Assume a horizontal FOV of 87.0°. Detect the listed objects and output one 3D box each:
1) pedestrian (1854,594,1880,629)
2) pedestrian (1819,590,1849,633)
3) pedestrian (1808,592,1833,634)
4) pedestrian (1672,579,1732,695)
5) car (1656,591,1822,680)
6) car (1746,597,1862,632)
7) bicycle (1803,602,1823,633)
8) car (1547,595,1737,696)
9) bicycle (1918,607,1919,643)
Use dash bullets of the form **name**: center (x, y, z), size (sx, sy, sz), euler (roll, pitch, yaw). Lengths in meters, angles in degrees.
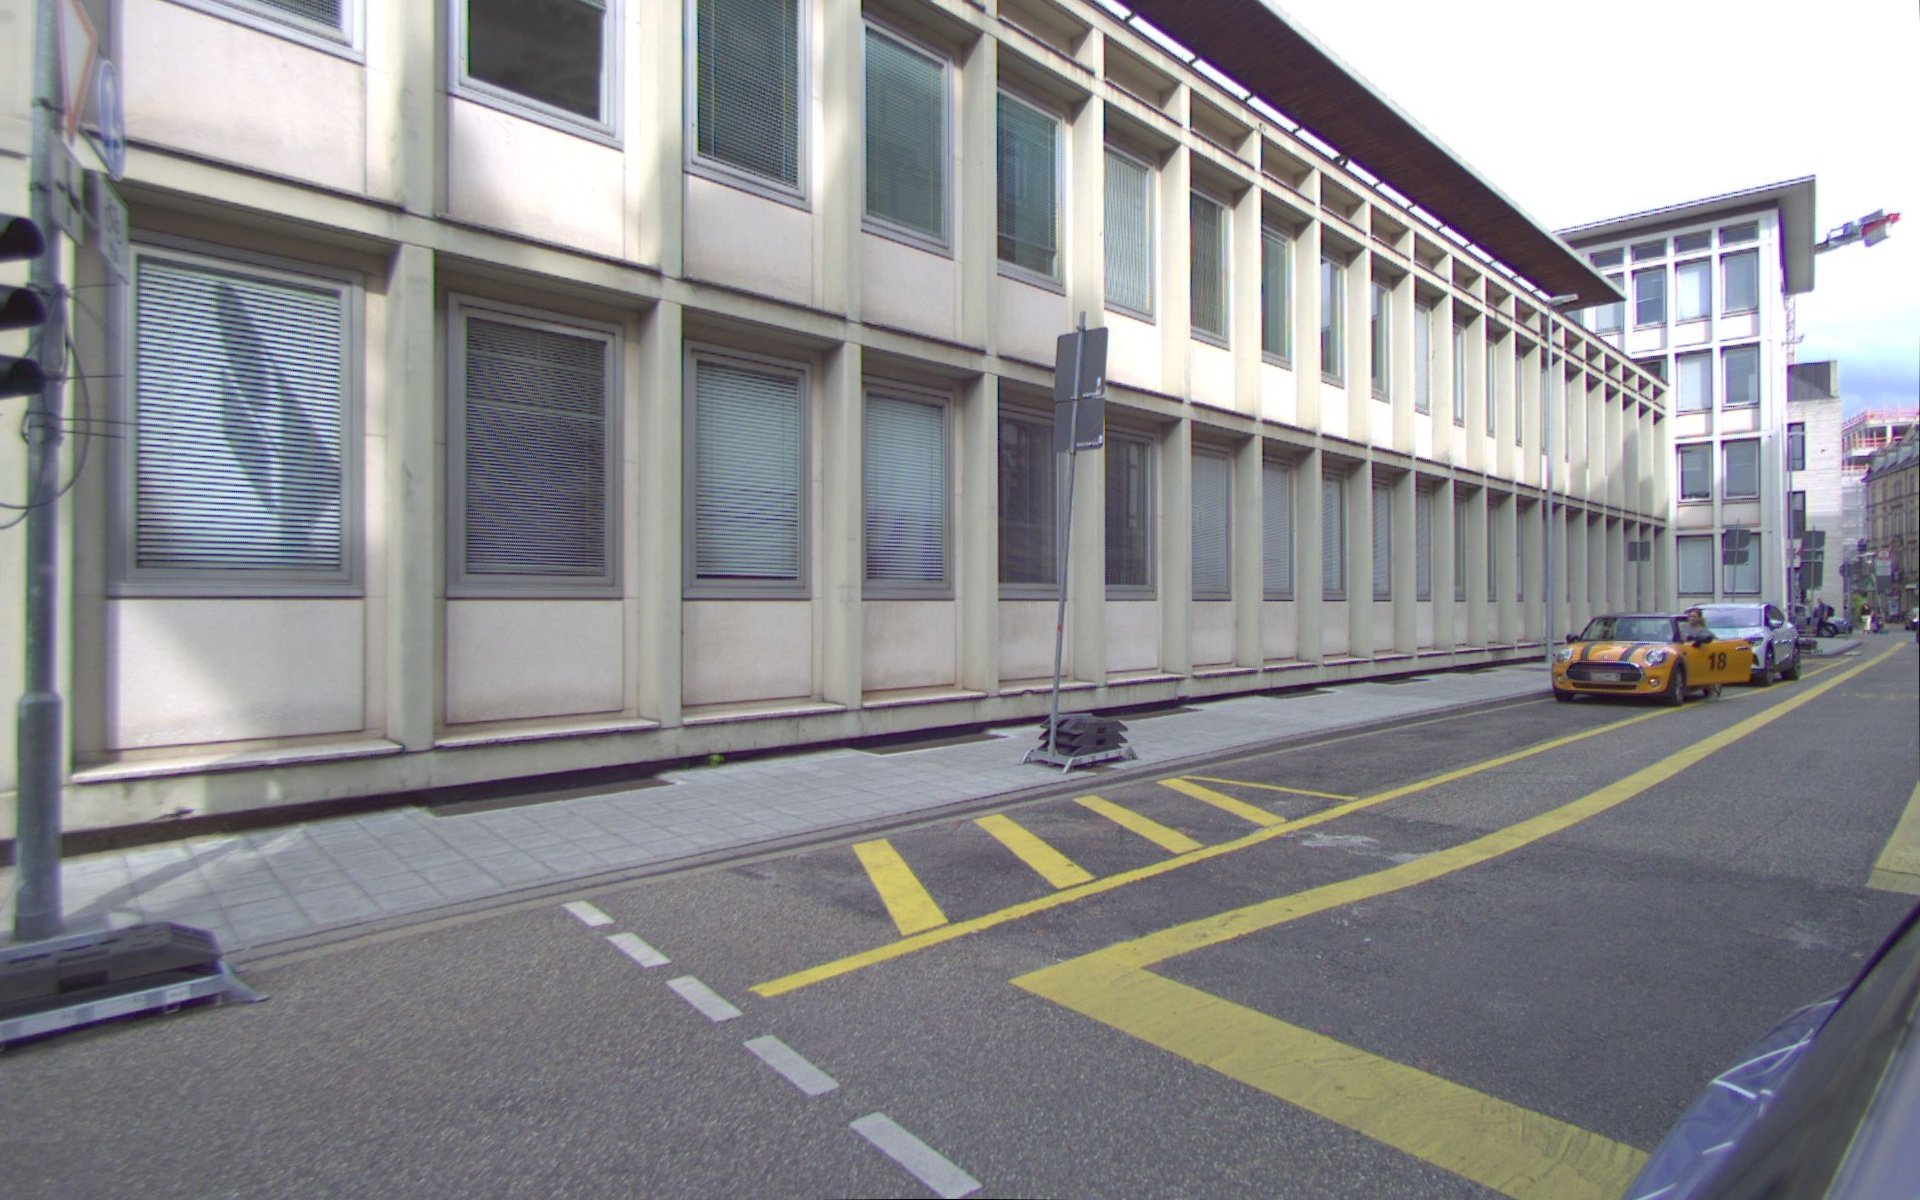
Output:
- **pedestrian**: center (47.379, 0.604, 52.855), size (0.643, 1.788, 0.642), euler (-4, -3, 8)
- **pedestrian**: center (38.054, 0.492, 44.074), size (0.740, 1.838, 0.747), euler (-5, -3, 33)
- **pedestrian**: center (38.175, 0.579, 44.904), size (0.639, 1.788, 0.646), euler (-5, -3, 33)
- **pedestrian**: center (11.829, 0.565, 16.134), size (0.703, 1.786, 0.689), euler (-1, 0, 43)
- **car**: center (16.093, 0.691, 20.824), size (4.435, 1.626, 1.862), euler (-1, -3, -42)
- **car**: center (40.798, 0.652, 48.972), size (4.181, 1.610, 1.787), euler (0, 0, 44)
- **bicycle**: center (33.666, 0.670, 39.955), size (0.588, 1.182, 1.788), euler (-1, 0, 40)
- **car**: center (11.186, 0.702, 16.519), size (3.819, 1.453, 1.682), euler (2, -2, -42)
- **bicycle**: center (34.333, 0.849, 35.582), size (2.818, 1.209, 0.869), euler (-1, 0, -45)
